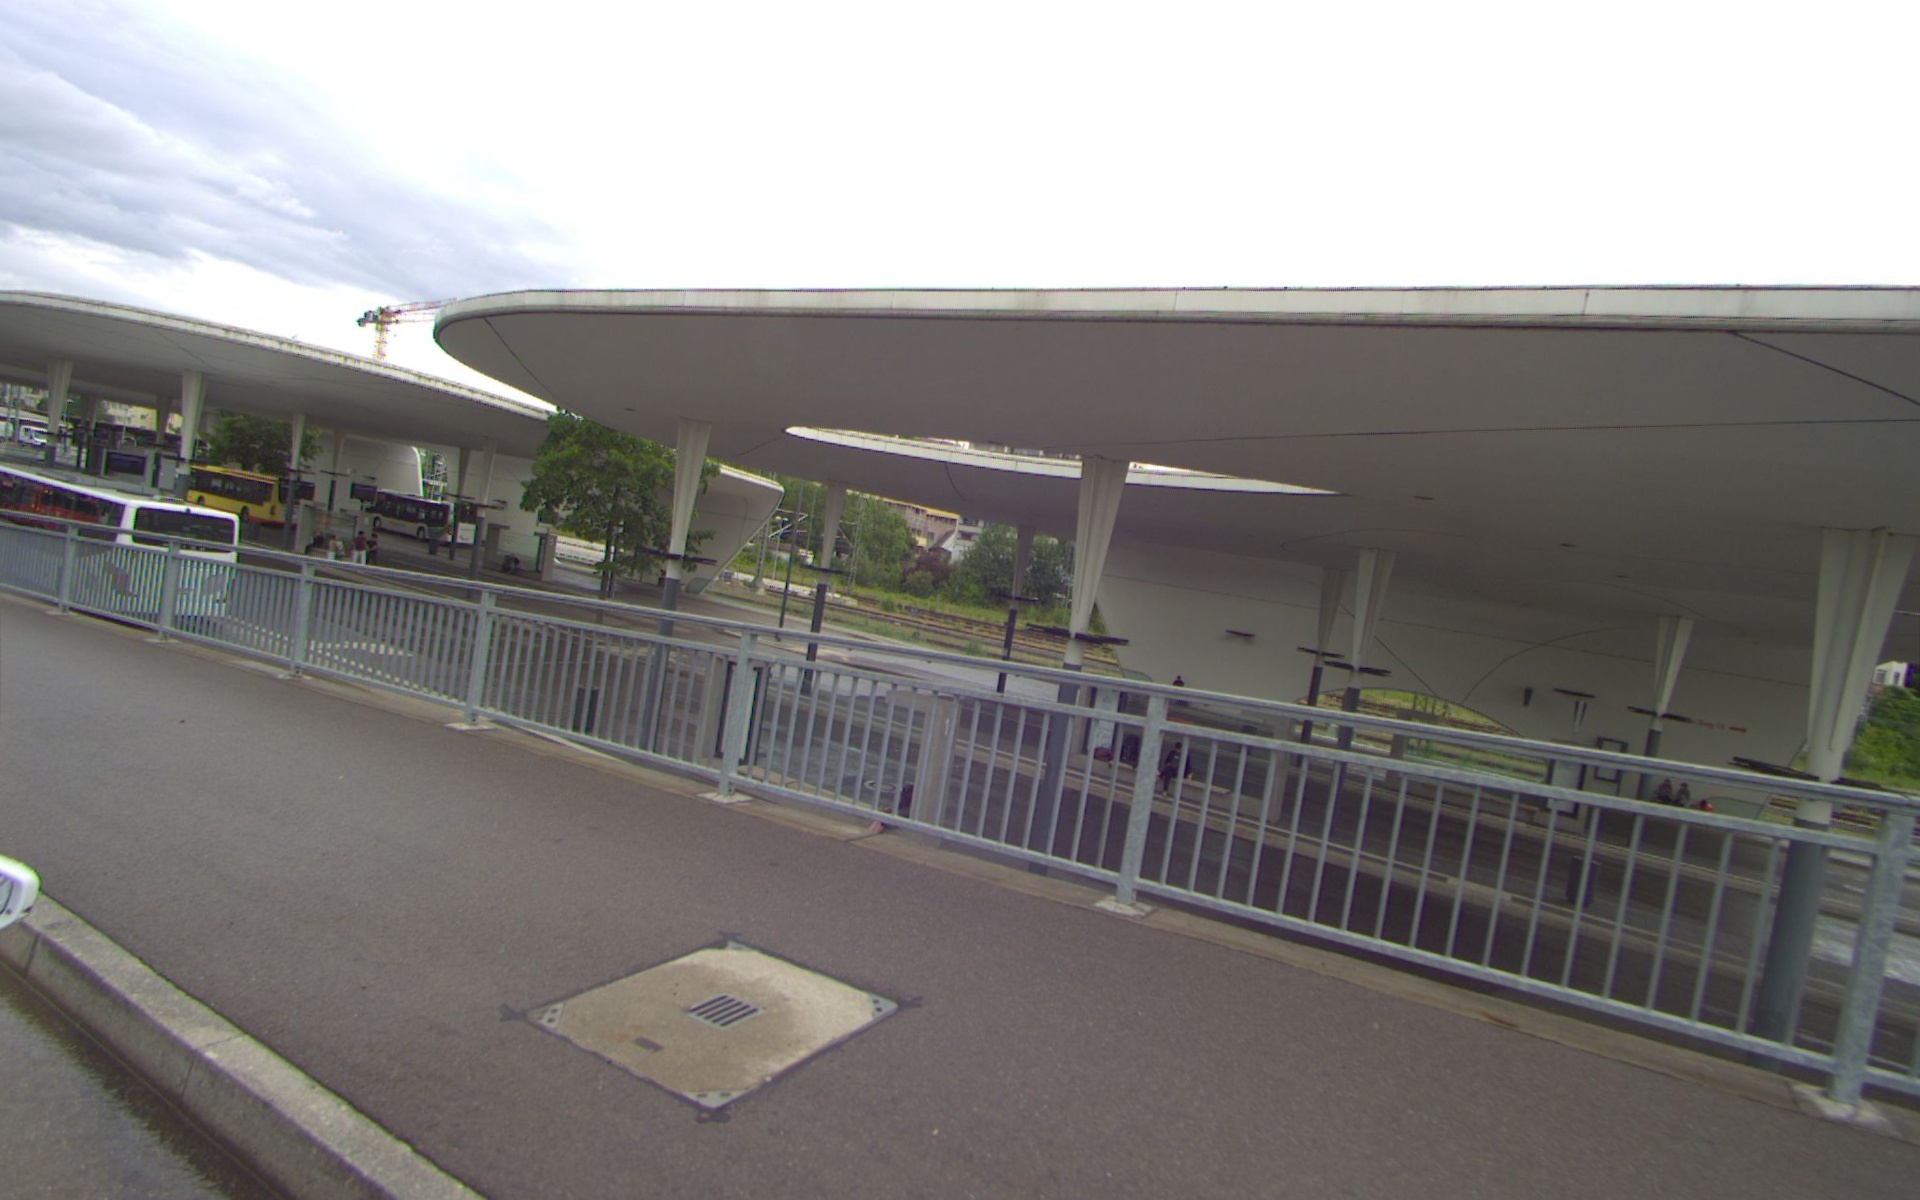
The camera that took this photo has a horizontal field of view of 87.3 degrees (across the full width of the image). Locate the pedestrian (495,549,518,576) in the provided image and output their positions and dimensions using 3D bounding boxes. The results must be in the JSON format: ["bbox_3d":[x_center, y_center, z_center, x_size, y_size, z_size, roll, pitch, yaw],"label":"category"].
[{"bbox_3d":[-24.702,-2.062,54.805,0.790,1.340,0.709,6,-1,39],"label":"pedestrian"}]

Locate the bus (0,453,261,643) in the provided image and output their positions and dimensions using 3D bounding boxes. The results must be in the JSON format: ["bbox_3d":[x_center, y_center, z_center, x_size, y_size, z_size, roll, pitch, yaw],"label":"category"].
[{"bbox_3d":[-24.326,-1.730,28.128,12.216,3.402,2.851,11,1,31],"label":"bus"}]

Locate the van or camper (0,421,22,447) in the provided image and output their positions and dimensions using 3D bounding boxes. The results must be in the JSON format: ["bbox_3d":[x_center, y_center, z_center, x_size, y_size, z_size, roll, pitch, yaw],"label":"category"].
[{"bbox_3d":[-111.806,-19.541,116.087,2.083,2.588,4.616,8,0,30],"label":"van or camper"}]

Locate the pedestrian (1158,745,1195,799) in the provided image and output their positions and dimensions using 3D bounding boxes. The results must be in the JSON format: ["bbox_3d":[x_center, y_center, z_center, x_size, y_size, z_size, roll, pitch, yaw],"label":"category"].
[{"bbox_3d":[5.367,4.251,24.928,0.658,1.177,0.536,7,-1,28],"label":"pedestrian"}]

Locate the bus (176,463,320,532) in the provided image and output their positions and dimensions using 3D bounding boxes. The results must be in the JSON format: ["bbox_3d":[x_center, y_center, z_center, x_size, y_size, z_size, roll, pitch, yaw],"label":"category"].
[{"bbox_3d":[-46.499,-6.727,65.523,11.934,3.300,2.790,8,3,30],"label":"bus"}]

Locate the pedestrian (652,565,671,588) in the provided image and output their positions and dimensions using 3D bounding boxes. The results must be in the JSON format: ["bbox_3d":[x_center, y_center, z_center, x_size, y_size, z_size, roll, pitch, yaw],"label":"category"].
[{"bbox_3d":[-19.080,-1.506,64.269,0.789,1.340,0.710,6,-1,35],"label":"pedestrian"}]

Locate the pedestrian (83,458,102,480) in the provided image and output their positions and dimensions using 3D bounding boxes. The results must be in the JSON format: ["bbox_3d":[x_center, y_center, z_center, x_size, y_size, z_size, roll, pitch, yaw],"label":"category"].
[{"bbox_3d":[-72.503,-10.926,84.119,0.892,1.606,0.796,9,2,25],"label":"pedestrian"}]

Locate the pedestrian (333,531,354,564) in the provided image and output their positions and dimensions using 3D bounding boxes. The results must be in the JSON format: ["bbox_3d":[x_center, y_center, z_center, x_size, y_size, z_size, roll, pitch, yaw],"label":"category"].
[{"bbox_3d":[-27.977,-2.374,45.672,0.548,1.412,0.568,11,5,37],"label":"pedestrian"}]

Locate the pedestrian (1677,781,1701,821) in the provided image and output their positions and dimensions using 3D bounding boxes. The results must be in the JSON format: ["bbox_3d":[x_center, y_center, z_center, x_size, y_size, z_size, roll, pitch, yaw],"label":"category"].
[{"bbox_3d":[26.101,7.208,36.030,0.537,1.295,0.568,6,-1,34],"label":"pedestrian"}]

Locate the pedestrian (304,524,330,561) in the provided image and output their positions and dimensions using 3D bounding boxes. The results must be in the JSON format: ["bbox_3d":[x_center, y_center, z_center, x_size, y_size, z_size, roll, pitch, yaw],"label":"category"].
[{"bbox_3d":[-30.072,-2.693,47.058,0.666,1.608,0.590,7,-1,27],"label":"pedestrian"}]

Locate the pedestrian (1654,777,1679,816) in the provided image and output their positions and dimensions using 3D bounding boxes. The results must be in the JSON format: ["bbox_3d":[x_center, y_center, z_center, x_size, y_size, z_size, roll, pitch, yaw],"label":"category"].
[{"bbox_3d":[25.570,7.105,36.413,0.576,1.285,0.568,6,-1,34],"label":"pedestrian"}]

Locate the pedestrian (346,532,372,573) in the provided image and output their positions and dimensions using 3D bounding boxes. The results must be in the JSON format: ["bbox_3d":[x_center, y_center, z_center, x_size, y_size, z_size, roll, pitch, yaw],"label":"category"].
[{"bbox_3d":[-26.485,-2.096,44.348,0.629,1.677,0.641,7,4,-9],"label":"pedestrian"}]

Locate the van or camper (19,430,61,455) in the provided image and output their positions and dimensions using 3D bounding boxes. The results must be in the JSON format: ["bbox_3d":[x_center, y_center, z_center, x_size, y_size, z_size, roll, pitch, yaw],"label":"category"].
[{"bbox_3d":[-105.322,-18.027,115.134,5.388,2.128,1.997,8,0,31],"label":"van or camper"}]

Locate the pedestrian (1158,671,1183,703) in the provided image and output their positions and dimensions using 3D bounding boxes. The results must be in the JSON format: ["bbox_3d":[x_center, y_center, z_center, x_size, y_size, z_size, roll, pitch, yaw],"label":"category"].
[{"bbox_3d":[9.697,4.008,46.316,0.700,1.340,0.799,6,-1,36],"label":"pedestrian"}]

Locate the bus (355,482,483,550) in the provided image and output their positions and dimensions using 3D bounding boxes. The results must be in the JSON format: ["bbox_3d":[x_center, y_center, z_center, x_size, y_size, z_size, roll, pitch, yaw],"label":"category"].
[{"bbox_3d":[-39.287,-6.149,72.860,11.769,3.302,2.465,11,5,31],"label":"bus"}]
